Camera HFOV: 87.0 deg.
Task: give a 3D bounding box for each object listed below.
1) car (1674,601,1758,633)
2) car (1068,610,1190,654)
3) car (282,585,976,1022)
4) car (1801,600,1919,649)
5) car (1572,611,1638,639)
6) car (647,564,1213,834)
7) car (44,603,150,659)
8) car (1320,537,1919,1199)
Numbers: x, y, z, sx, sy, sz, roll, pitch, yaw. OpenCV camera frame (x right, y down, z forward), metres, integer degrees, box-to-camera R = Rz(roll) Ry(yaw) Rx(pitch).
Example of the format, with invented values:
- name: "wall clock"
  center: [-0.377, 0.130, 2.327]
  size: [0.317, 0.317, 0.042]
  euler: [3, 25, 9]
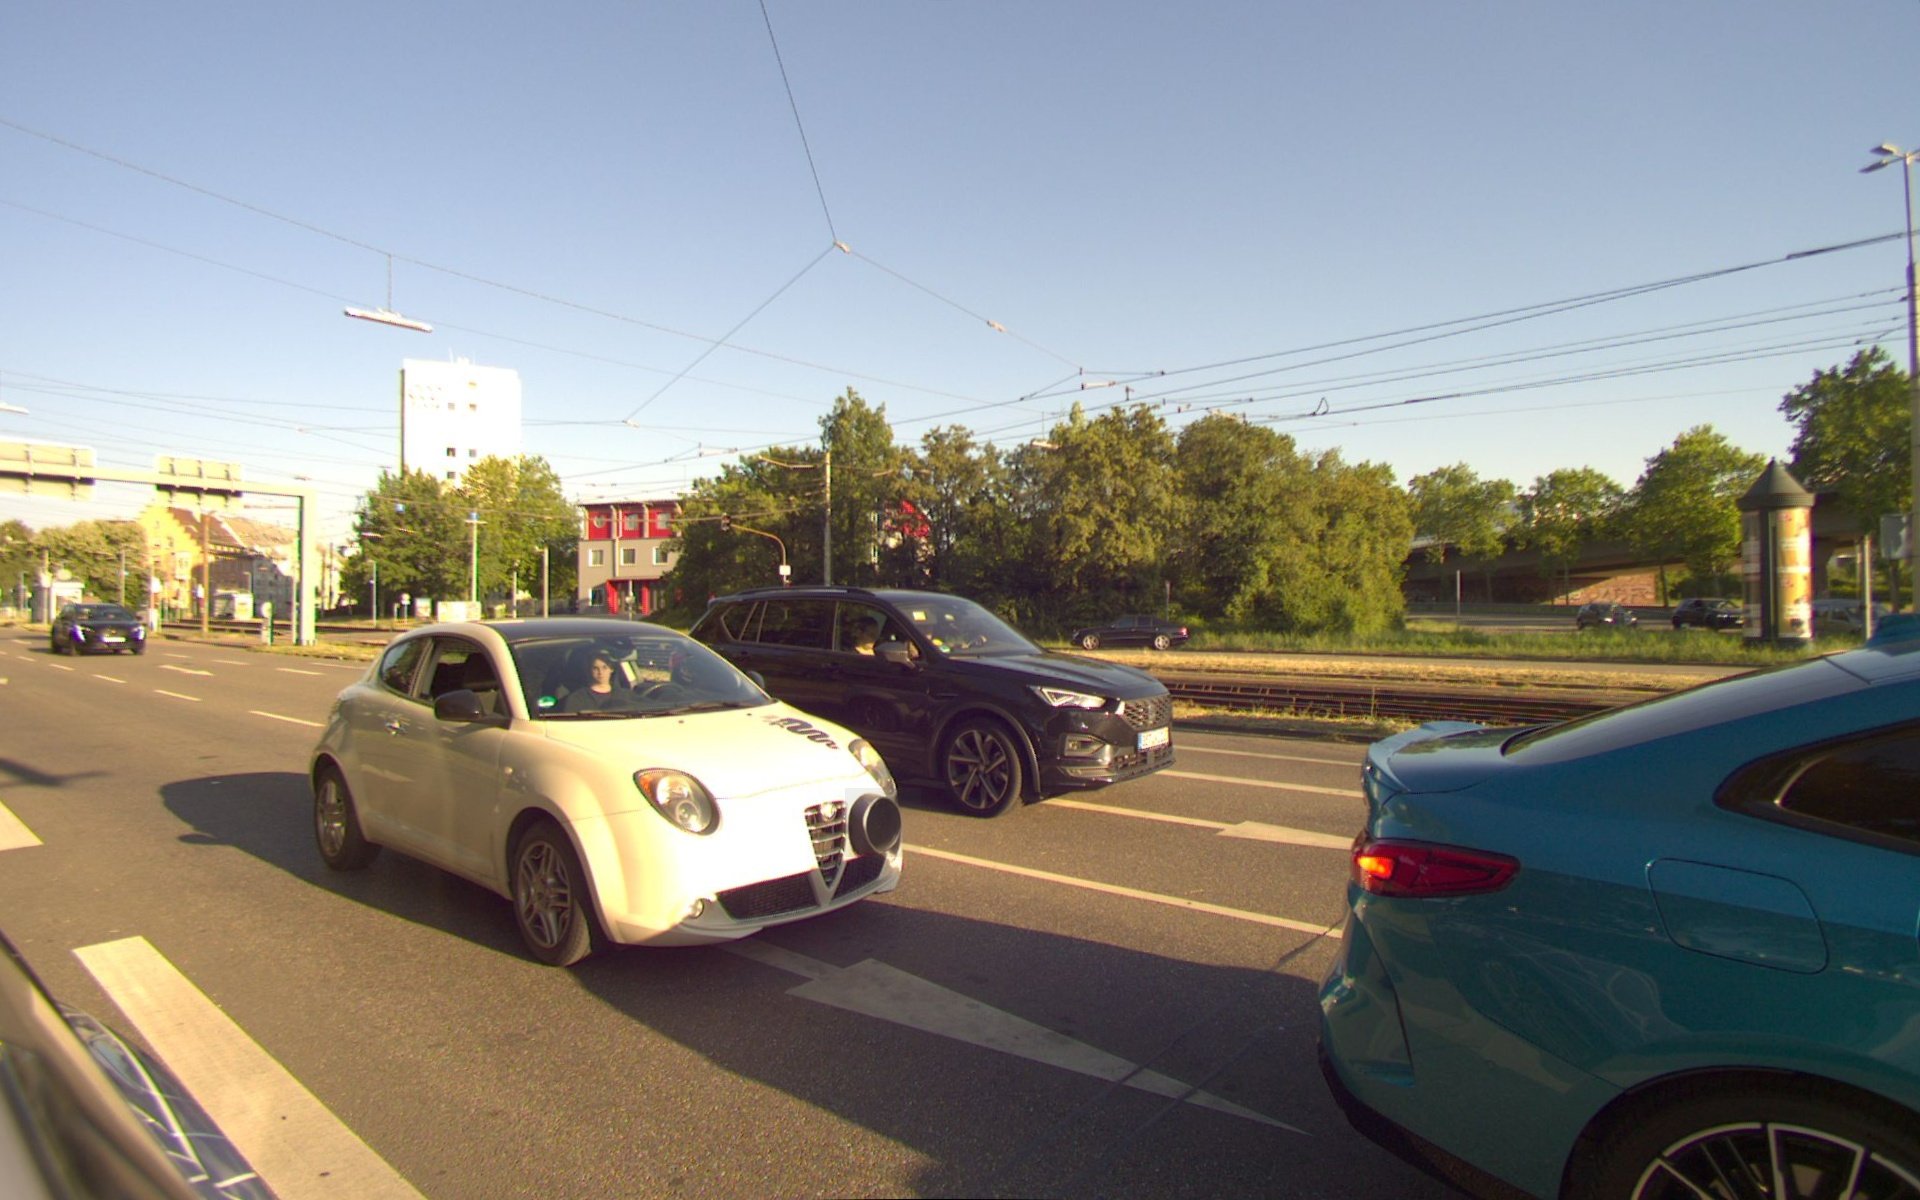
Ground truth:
- name: "car"
  center: [38.964, 0.861, 52.299]
  size: [1.605, 1.537, 4.400]
  euler: [-1, -1, 9]
- name: "car"
  center: [6.738, 1.280, 40.757]
  size: [4.696, 1.691, 1.751]
  euler: [-1, -1, 6]
- name: "car"
  center: [-2.000, 0.758, 5.477]
  size: [3.997, 1.517, 1.719]
  euler: [-1, -2, 40]
- name: "car"
  center: [33.616, 0.880, 37.550]
  size: [1.675, 1.691, 4.400]
  euler: [-1, -1, 10]
- name: "car"
  center: [36.510, 1.389, 57.410]
  size: [1.704, 1.537, 3.923]
  euler: [-1, -1, 10]
- name: "car"
  center: [-0.428, 0.657, 8.465]
  size: [4.614, 1.692, 1.797]
  euler: [-1, -1, 36]
- name: "car"
  center: [-27.637, 0.973, 32.363]
  size: [4.273, 1.675, 1.881]
  euler: [-1, -2, 40]
- name: "car"
  center: [2.908, 0.636, 1.439]
  size: [4.201, 1.477, 1.697]
  euler: [-1, -2, 38]
